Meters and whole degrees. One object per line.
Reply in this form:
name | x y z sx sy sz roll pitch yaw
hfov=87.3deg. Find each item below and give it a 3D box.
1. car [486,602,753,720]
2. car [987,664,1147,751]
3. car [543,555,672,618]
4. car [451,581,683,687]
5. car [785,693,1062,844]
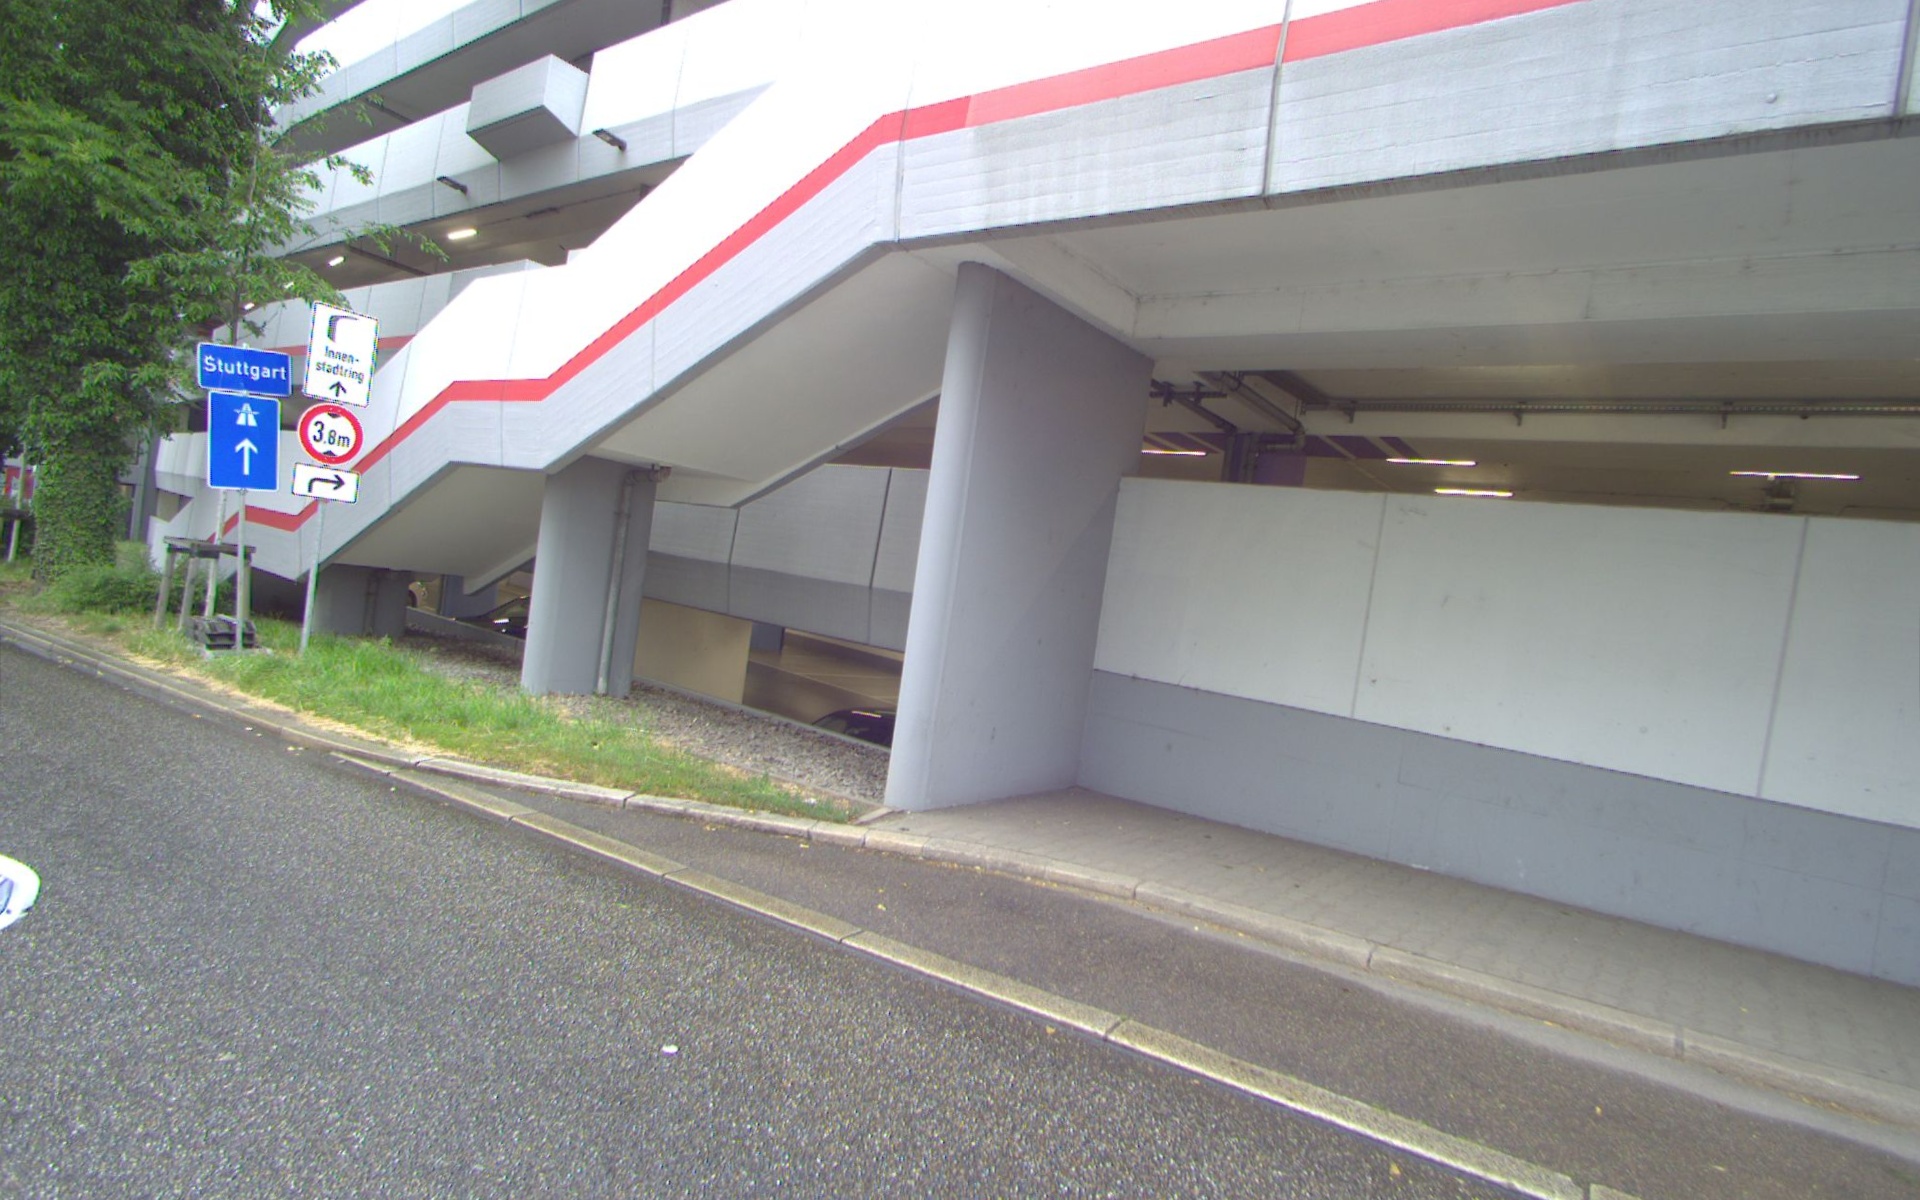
car | -5.819 1.125 17.617 1.810 1.643 3.988 7 -1 36
car | 2.617 2.536 23.829 1.810 1.559 3.988 11 2 37
car | -13.004 -0.476 37.261 1.792 1.804 3.979 7 0 44
car | -7.623 0.718 19.800 1.782 1.559 3.734 11 2 37
car | -0.401 2.353 14.757 1.810 1.559 3.931 11 2 37
